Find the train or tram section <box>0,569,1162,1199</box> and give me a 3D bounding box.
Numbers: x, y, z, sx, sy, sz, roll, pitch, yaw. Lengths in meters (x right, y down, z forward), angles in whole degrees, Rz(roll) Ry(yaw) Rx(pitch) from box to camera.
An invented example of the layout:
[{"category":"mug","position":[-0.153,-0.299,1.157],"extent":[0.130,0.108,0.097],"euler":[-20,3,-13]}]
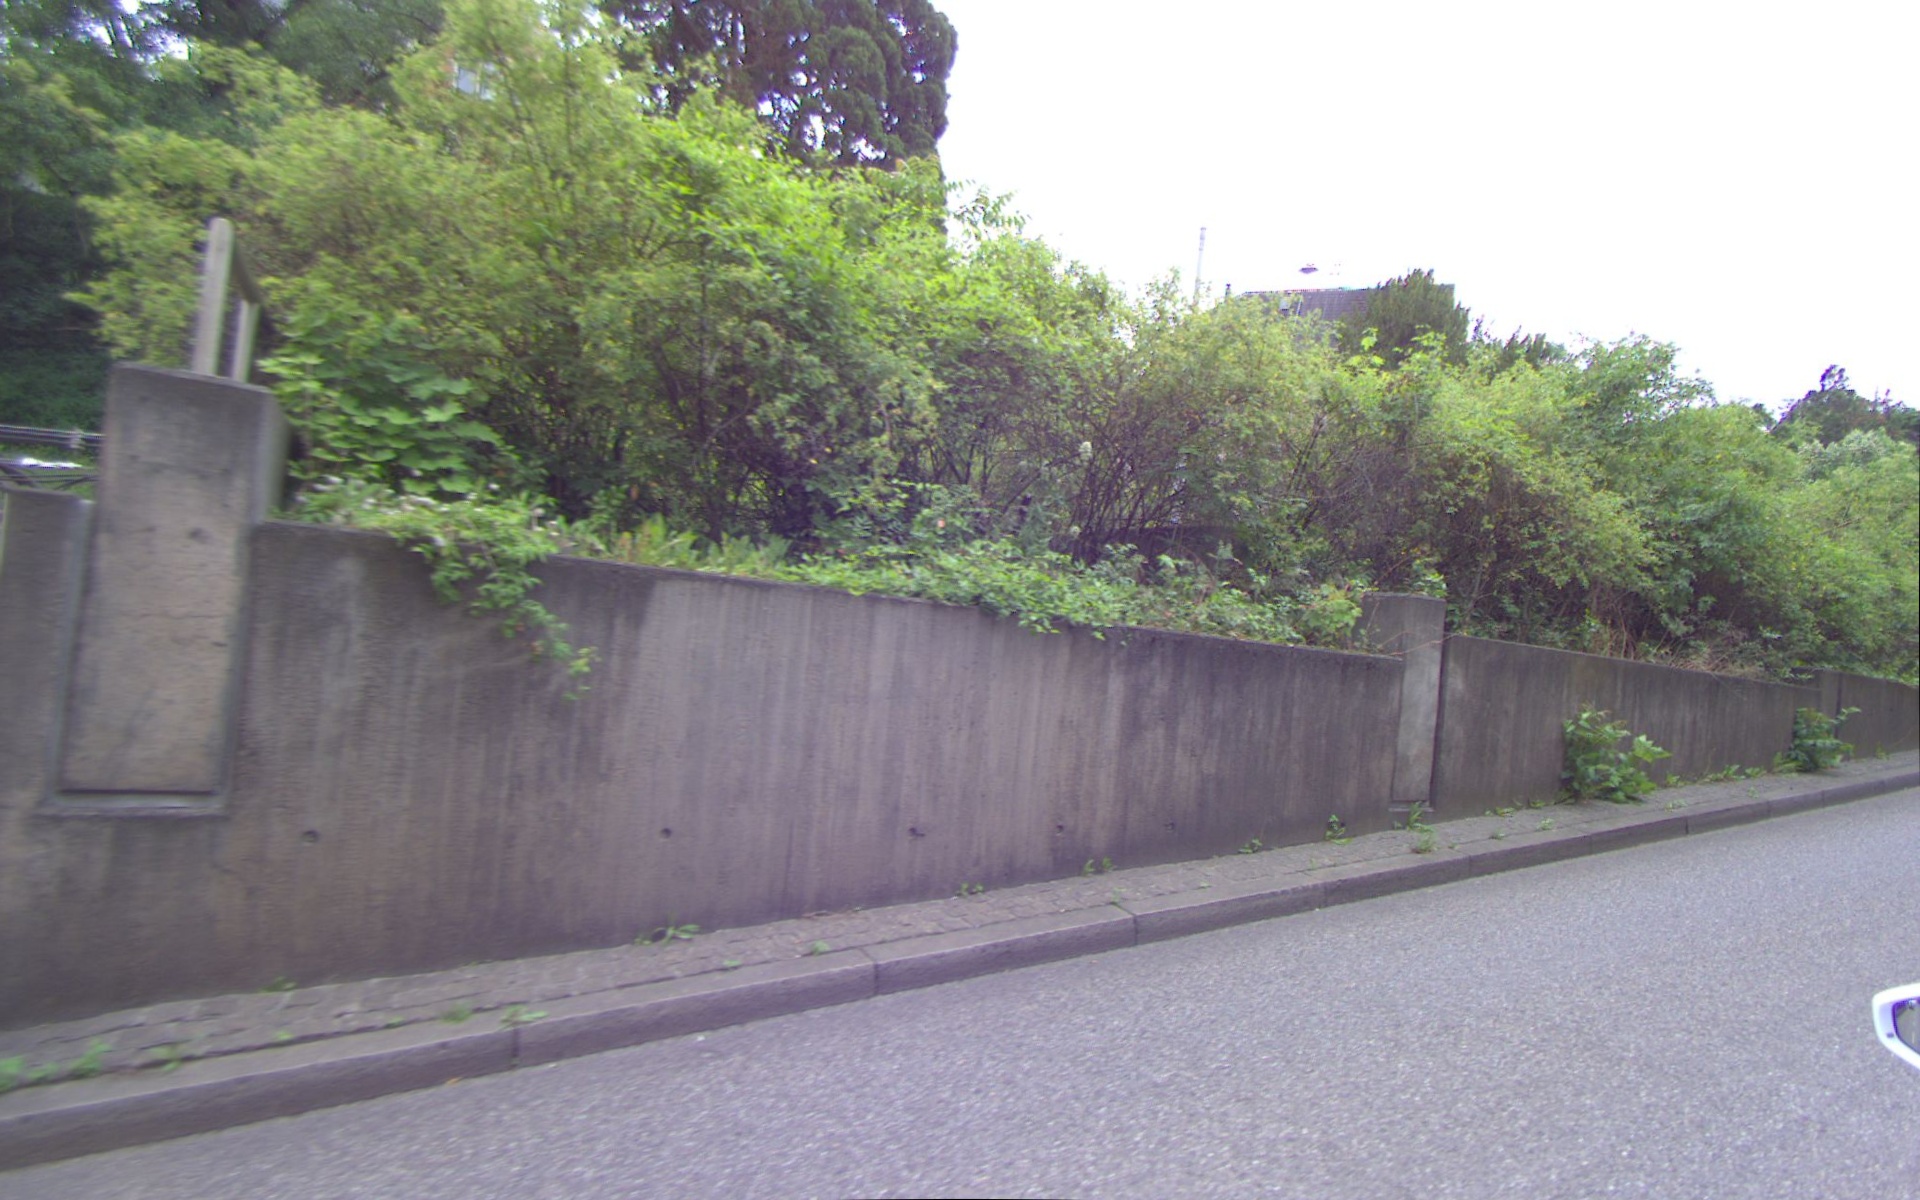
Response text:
[{"category":"train or tram section","position":[-4.472,1.697,6.989],"extent":[12.842,3.554,2.934],"euler":[4,-1,-31]}]
